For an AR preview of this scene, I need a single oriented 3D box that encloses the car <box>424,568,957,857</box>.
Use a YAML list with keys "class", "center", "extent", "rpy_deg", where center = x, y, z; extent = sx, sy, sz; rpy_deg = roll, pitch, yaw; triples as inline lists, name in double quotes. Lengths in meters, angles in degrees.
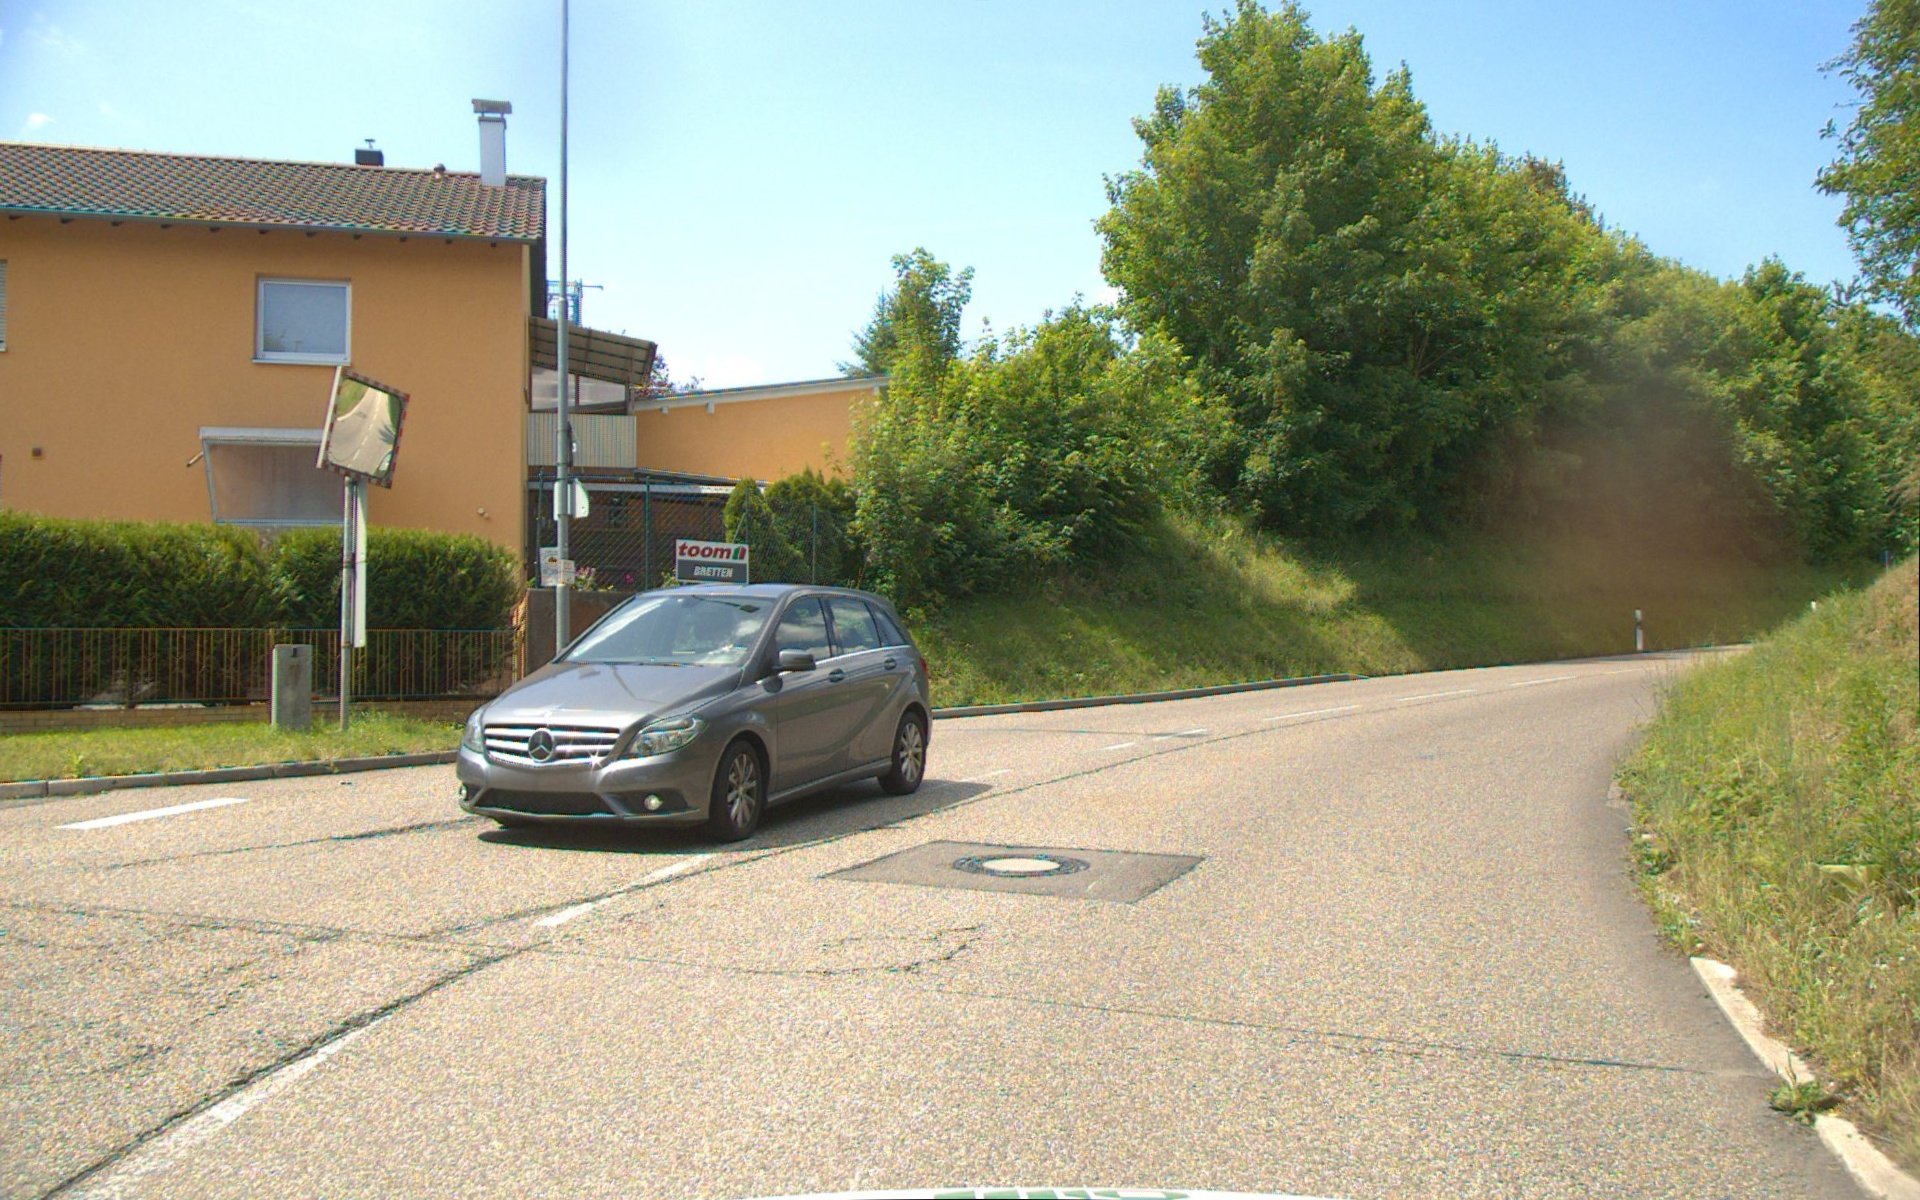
- class: "car"
  center: [-1.597, 0.612, 11.361]
  extent: [1.683, 1.583, 4.128]
  rpy_deg: [1, 0, 23]
